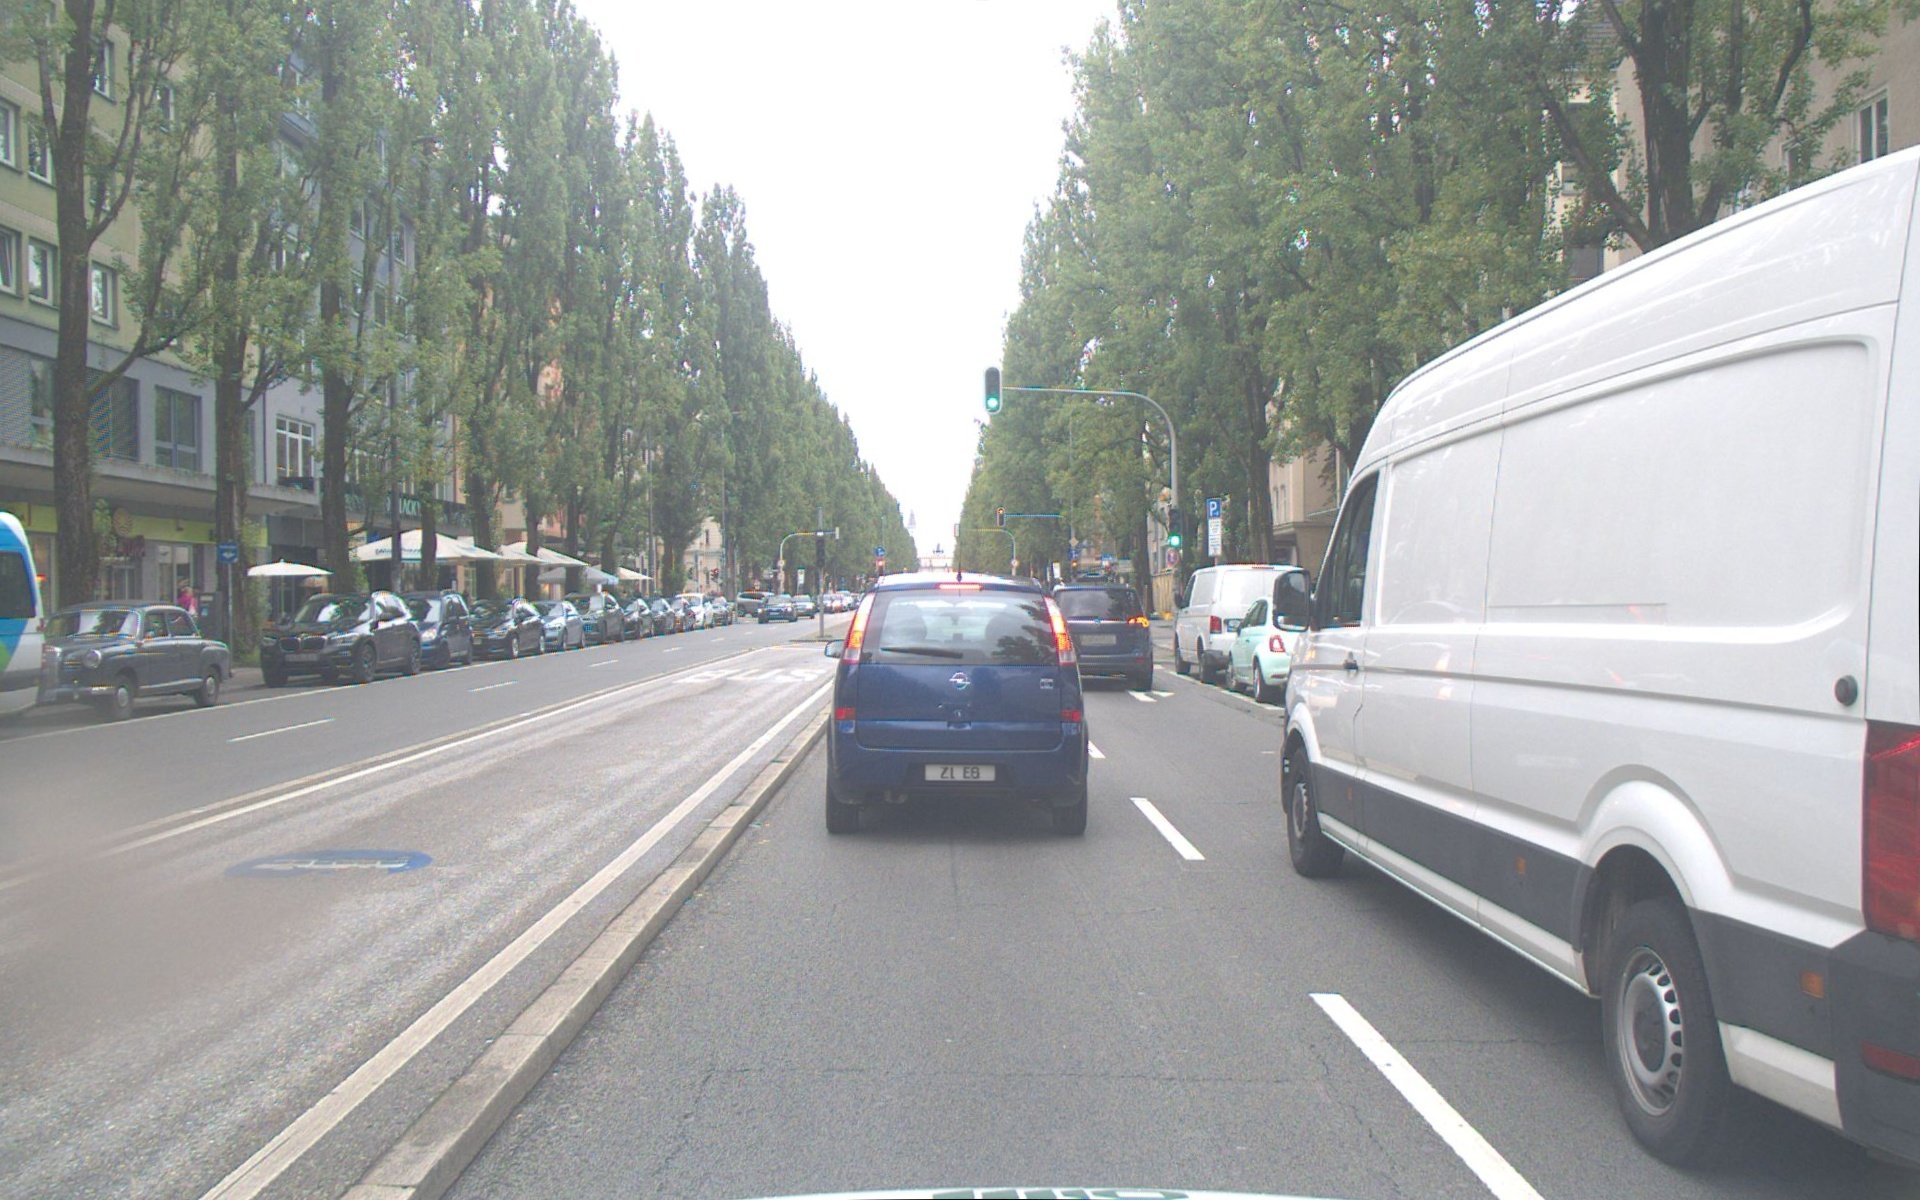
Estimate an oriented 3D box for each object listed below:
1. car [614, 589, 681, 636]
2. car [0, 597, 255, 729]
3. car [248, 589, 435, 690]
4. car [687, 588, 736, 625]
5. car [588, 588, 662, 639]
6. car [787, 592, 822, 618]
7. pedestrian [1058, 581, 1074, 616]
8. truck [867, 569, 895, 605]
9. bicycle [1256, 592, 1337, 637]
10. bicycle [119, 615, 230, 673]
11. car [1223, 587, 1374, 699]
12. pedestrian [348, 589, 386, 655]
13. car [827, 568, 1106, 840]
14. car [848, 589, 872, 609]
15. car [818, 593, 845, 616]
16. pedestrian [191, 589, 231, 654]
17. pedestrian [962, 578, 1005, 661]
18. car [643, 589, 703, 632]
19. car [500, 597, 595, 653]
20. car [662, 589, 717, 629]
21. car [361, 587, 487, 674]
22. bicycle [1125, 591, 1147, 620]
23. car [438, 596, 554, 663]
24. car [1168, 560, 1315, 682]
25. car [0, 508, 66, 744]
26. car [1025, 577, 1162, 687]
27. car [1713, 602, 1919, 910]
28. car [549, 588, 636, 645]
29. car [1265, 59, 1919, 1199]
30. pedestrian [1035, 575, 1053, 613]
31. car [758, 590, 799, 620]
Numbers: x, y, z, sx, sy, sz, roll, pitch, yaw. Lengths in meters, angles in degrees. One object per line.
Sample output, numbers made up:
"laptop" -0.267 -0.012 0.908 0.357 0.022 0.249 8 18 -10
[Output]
"car" -12.161 0.449 64.651 1.828 1.694 4.119 -2 0 -1
"car" -11.728 0.804 23.153 1.828 1.579 4.413 -2 0 -1
"car" -11.637 0.683 31.488 1.828 1.693 4.610 -2 0 -1
"car" -12.389 0.305 82.711 1.828 1.694 4.119 -2 0 -1
"car" -12.057 0.452 59.779 1.828 1.694 4.119 -2 0 -1
"car" -9.342 0.298 99.553 1.710 1.459 4.129 -2 0 -1
"pedestrian" 5.543 -0.076 86.855 0.625 1.859 0.885 1 0 -11
"truck" -7.571 -1.240 159.203 2.334 3.405 7.109 -1 0 -1
"bicycle" 9.646 0.410 47.412 2.182 1.225 0.626 -1 0 -3
"bicycle" -16.240 0.906 34.239 1.909 1.114 0.718 2 0 -7
"car" 4.904 0.581 24.342 1.509 1.518 3.523 0 0 0
"pedestrian" -15.524 0.571 43.312 0.740 1.715 0.675 -1 -1 0
"car" 0.019 0.598 11.739 1.637 1.596 4.000 0 0 -1
"car" -7.870 -0.106 129.811 1.699 1.491 3.365 -1 0 -1
"car" -9.739 0.302 125.522 1.828 1.695 4.119 -1 0 -1
"pedestrian" -20.154 0.565 44.505 0.740 1.715 0.675 -1 -1 0
"pedestrian" 0.480 0.398 34.688 0.843 1.714 0.626 -1 0 -4
"car" -12.140 0.413 70.178 1.828 1.694 4.119 -2 0 -1
"car" -11.855 0.682 47.762 1.698 1.450 4.143 -2 0 -1
"car" -12.284 0.387 75.437 1.828 1.694 4.119 -2 0 -1
"car" -11.873 0.634 36.868 1.675 1.751 3.919 -2 0 -4
"bicycle" 8.521 0.255 80.138 0.757 1.372 2.449 -1 0 -1
"car" -11.807 0.710 42.352 1.762 1.514 4.349 -2 0 -1
"car" 4.888 0.328 29.349 1.751 1.980 4.729 0 0 -1
"car" -11.543 0.337 16.056 1.965 2.612 6.911 -2 0 -1
"car" 2.098 0.467 27.006 1.858 1.650 4.000 0 0 -1
"car" 5.319 0.735 7.372 1.676 1.418 4.339 0 0 -5
"car" -11.826 0.484 53.483 1.828 1.694 4.400 -2 0 -1
"car" 2.869 0.181 6.563 2.021 2.536 6.729 0 0 -1
"pedestrian" 4.187 -0.280 82.363 0.707 1.859 0.885 1 0 -11
"car" -9.660 0.260 88.256 1.663 1.488 4.712 -2 0 -1
